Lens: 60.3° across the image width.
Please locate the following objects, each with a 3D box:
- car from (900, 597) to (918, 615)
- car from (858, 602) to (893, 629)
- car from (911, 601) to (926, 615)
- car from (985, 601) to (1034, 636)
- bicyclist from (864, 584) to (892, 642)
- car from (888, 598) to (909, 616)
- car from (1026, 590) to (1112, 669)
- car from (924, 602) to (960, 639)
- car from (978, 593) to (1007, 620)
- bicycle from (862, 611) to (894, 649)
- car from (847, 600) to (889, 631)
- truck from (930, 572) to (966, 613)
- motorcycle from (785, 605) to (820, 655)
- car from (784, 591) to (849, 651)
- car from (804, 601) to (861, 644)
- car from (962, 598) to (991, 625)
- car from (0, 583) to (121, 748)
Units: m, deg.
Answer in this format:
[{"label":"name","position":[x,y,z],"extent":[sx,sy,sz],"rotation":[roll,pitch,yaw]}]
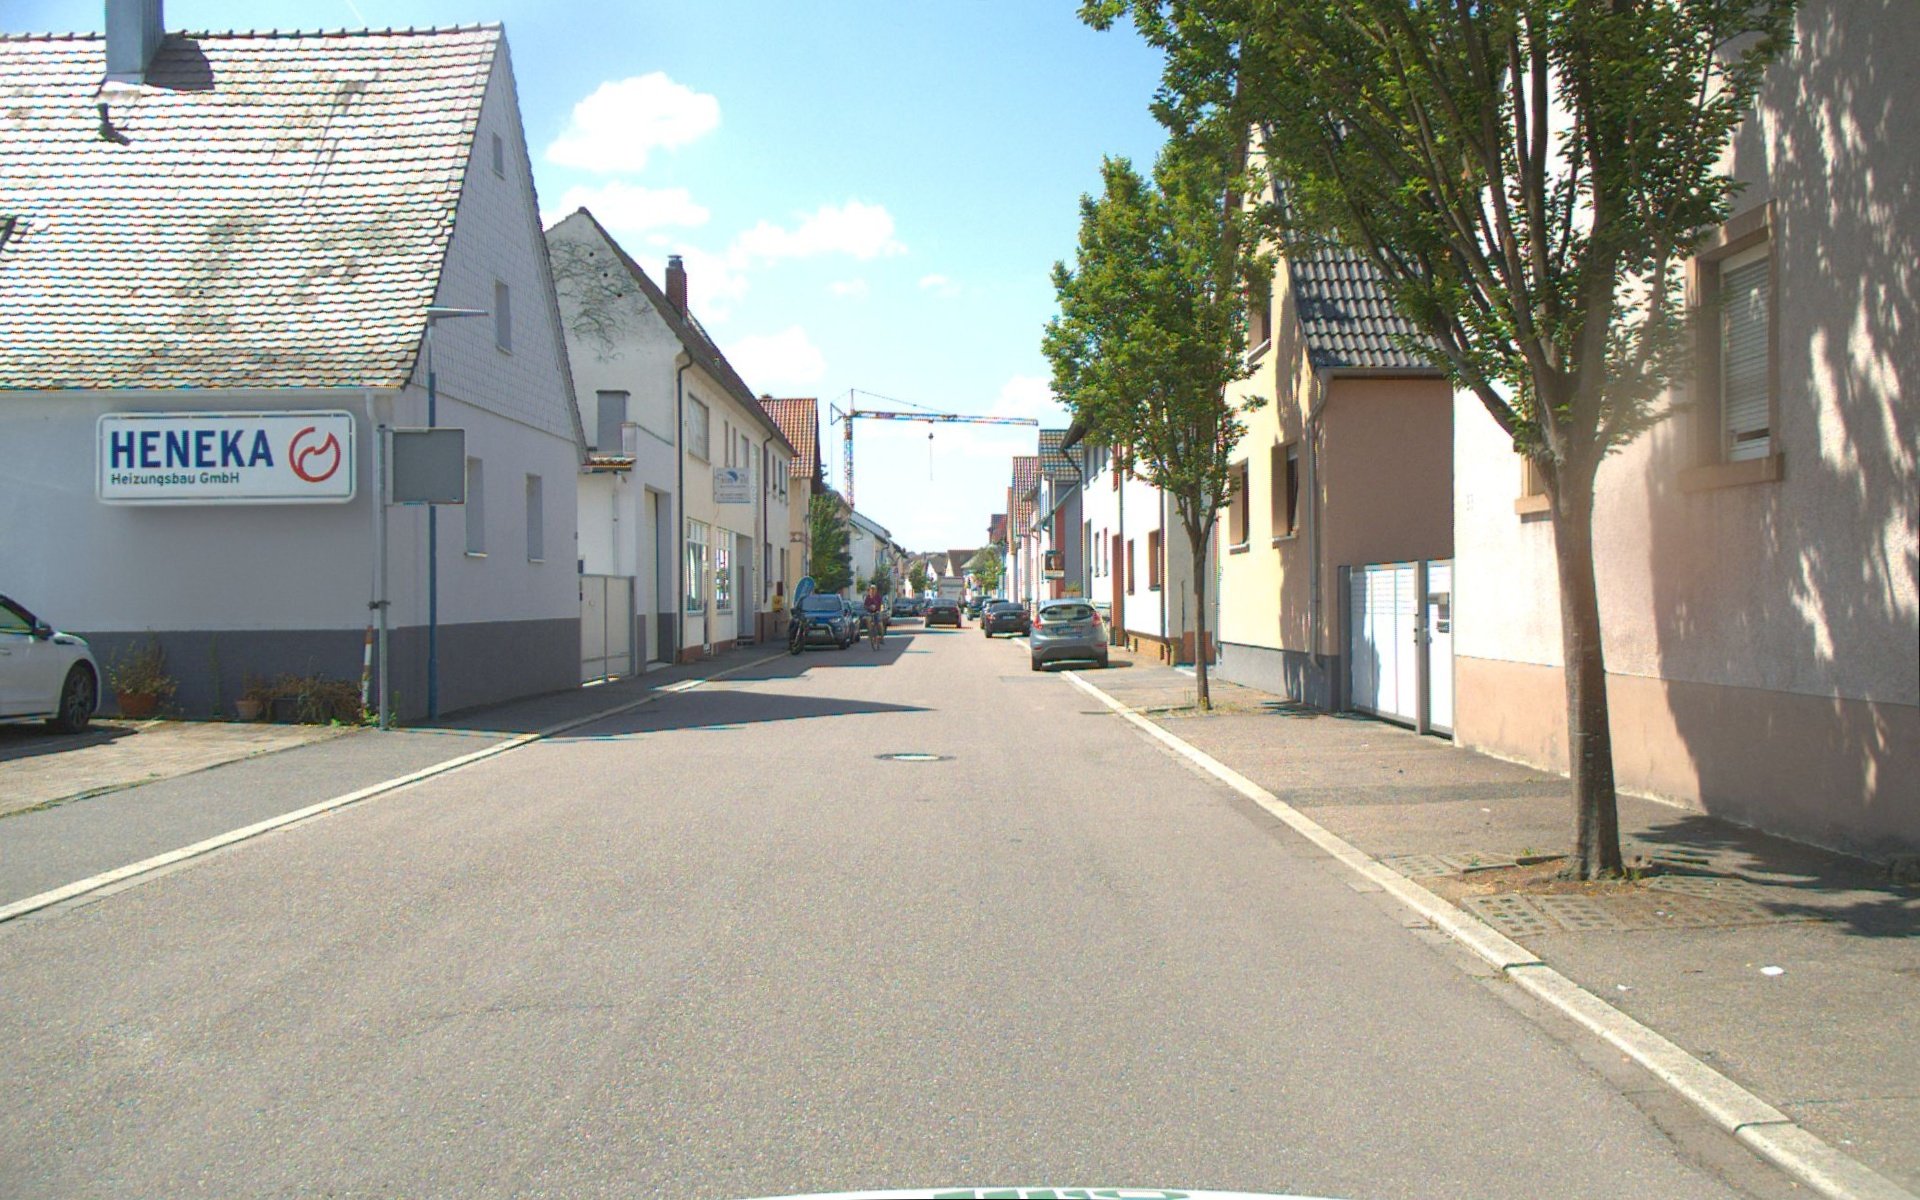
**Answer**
[{"label":"car","position":[-4.691,0.521,152.937],"extent":[1.620,1.637,4.060],"rotation":[-1,0,-1]},{"label":"car","position":[-4.888,0.895,96.312],"extent":[1.731,1.485,4.437],"rotation":[-1,0,1]},{"label":"car","position":[-4.822,0.904,192.122],"extent":[1.688,1.583,4.172],"rotation":[0,0,0]},{"label":"car","position":[1.909,0.707,64.572],"extent":[1.778,1.298,4.146],"rotation":[-1,0,0]},{"label":"bicyclist","position":[-2.367,0.362,47.908],"extent":[0.731,1.665,0.957],"rotation":[0,0,3]},{"label":"car","position":[-5.379,0.590,145.625],"extent":[1.723,1.551,4.288],"rotation":[-1,0,-1]},{"label":"car","position":[2.371,0.606,36.278],"extent":[1.686,1.507,3.751],"rotation":[-4,0,3]},{"label":"car","position":[-0.924,1.019,83.701],"extent":[1.747,1.784,3.999],"rotation":[-2,0,-1]},{"label":"car","position":[1.971,0.376,101.282],"extent":[1.584,1.521,3.971],"rotation":[-4,0,-1]},{"label":"bicycle","position":[-2.367,0.855,47.851],"extent":[0.727,1.066,1.941],"rotation":[0,0,3]},{"label":"car","position":[-4.141,0.685,75.209],"extent":[1.725,1.398,4.065],"rotation":[0,0,-1]},{"label":"truck","position":[-1.292,-0.679,170.765],"extent":[3.311,3.933,13.920],"rotation":[-2,0,-2]},{"label":"motorcycle","position":[-4.371,0.808,46.099],"extent":[0.792,1.335,2.105],"rotation":[-1,0,-1]},{"label":"car","position":[-4.350,0.617,50.646],"extent":[1.683,1.668,4.147],"rotation":[-3,0,-2]},{"label":"car","position":[-4.418,0.758,57.730],"extent":[1.663,1.436,4.389],"rotation":[-1,0,0]},{"label":"car","position":[1.122,0.772,113.787],"extent":[1.694,1.747,4.273],"rotation":[-1,0,-2]},{"label":"car","position":[-10.137,0.629,16.155],"extent":[1.738,1.598,4.477],"rotation":[0,0,-2]}]
